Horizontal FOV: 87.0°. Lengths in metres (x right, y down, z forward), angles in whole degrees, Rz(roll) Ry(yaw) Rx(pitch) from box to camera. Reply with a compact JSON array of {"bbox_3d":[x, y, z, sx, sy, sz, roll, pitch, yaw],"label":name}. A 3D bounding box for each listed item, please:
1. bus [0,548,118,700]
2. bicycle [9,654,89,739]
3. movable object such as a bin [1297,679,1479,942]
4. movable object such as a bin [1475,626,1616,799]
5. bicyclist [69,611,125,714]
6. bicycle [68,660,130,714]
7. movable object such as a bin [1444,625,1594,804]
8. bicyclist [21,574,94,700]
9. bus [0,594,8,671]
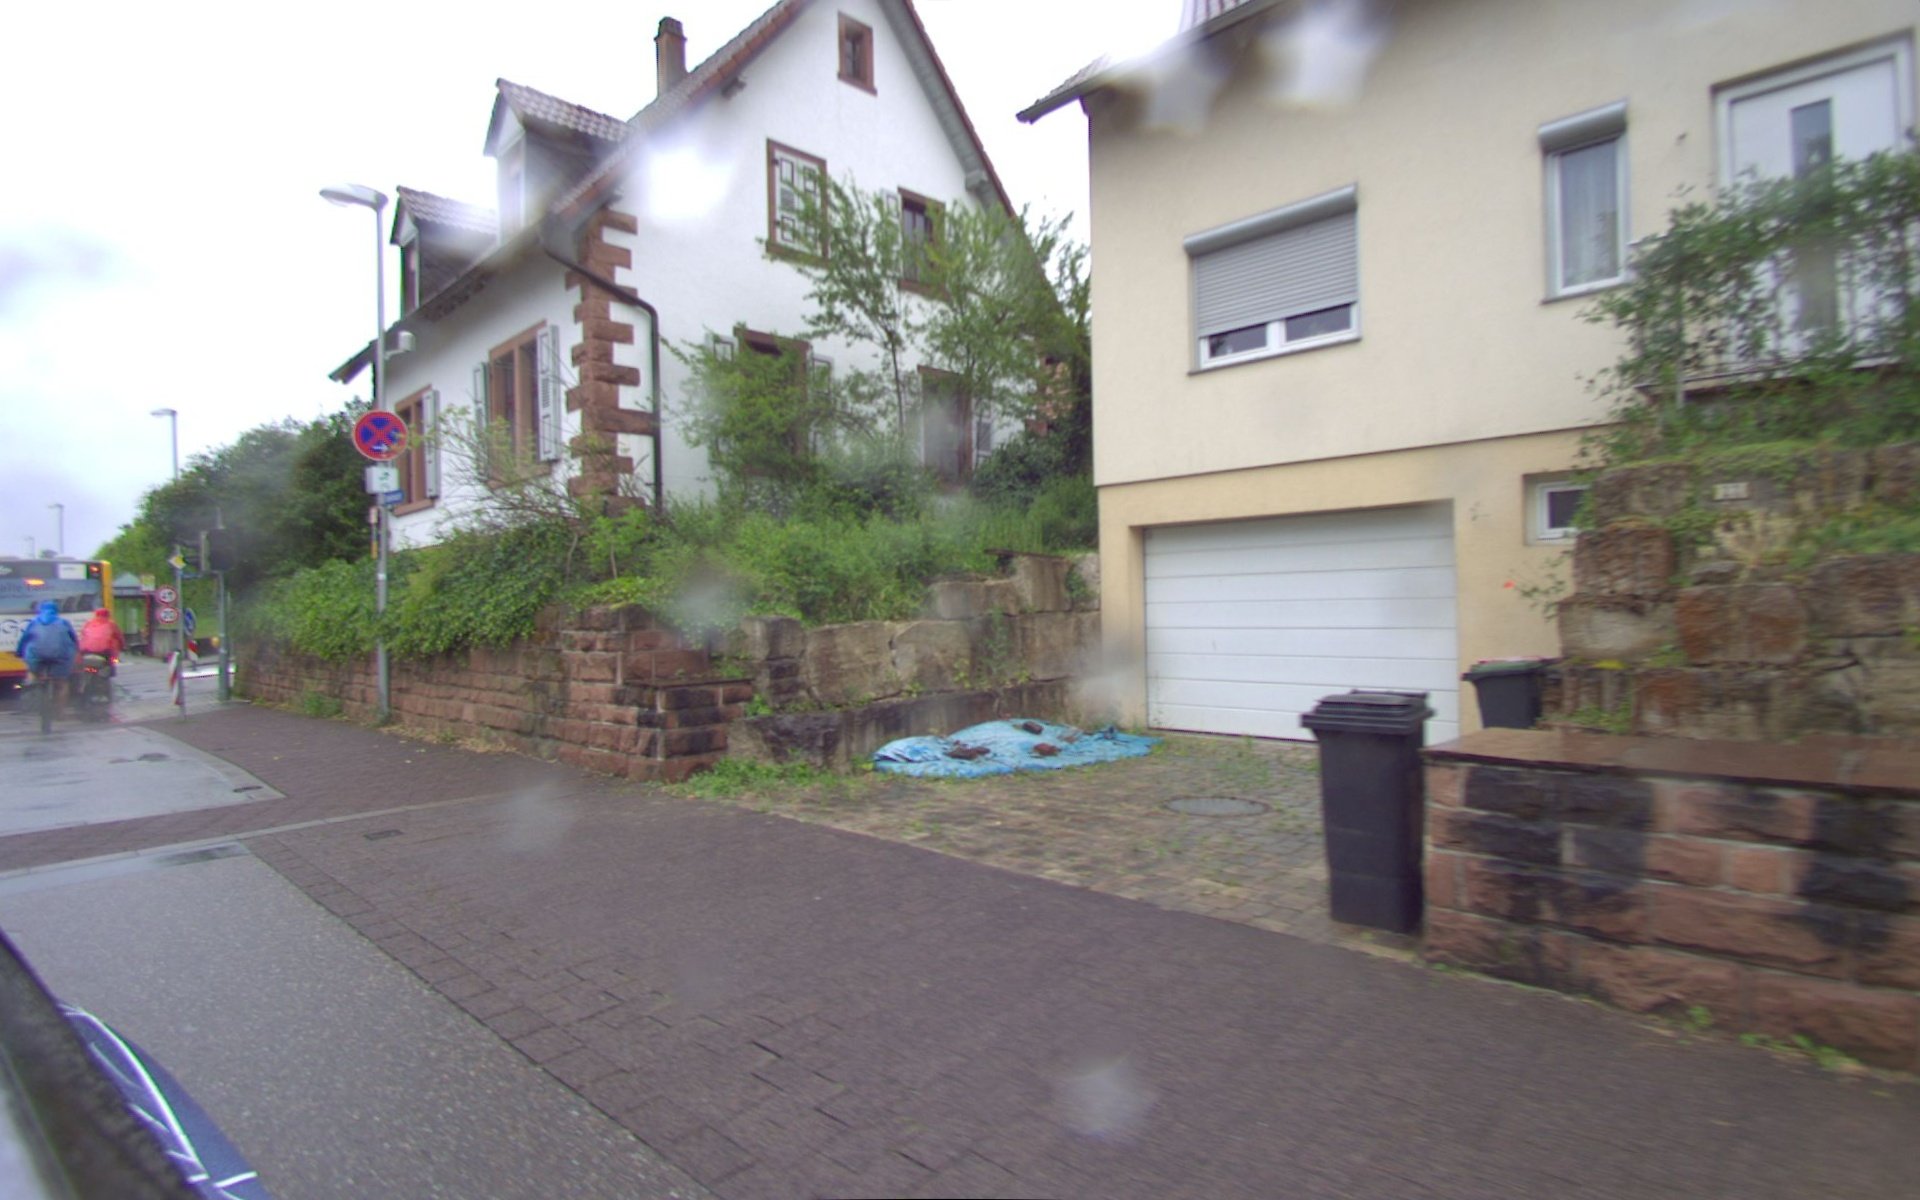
[{"bbox_3d":[-22.422,0.574,24.493,2.772,2.961,11.957,-3,1,-41],"label":"bus"},{"bbox_3d":[-12.899,1.325,14.300,2.340,1.058,0.673,-4,0,45],"label":"bicycle"},{"bbox_3d":[1.800,0.835,4.247,0.544,0.937,0.532,-1,1,42],"label":"movable object such as a bin"},{"bbox_3d":[4.154,0.765,7.185,0.599,1.116,0.651,-3,0,-40],"label":"movable object such as a bin"},{"bbox_3d":[-15.513,1.116,18.188,0.704,1.783,0.649,-4,-1,45],"label":"bicyclist"},{"bbox_3d":[-15.473,1.550,18.170,1.935,0.877,0.654,-4,-1,45],"label":"bicycle"},{"bbox_3d":[3.697,0.733,6.703,0.615,1.071,0.656,-2,-2,-44],"label":"movable object such as a bin"},{"bbox_3d":[-12.920,0.507,14.490,0.704,1.726,0.679,-1,1,45],"label":"bicyclist"},{"bbox_3d":[-42.232,1.445,41.759,3.389,3.437,13.894,-1,0,-40],"label":"bus"}]
